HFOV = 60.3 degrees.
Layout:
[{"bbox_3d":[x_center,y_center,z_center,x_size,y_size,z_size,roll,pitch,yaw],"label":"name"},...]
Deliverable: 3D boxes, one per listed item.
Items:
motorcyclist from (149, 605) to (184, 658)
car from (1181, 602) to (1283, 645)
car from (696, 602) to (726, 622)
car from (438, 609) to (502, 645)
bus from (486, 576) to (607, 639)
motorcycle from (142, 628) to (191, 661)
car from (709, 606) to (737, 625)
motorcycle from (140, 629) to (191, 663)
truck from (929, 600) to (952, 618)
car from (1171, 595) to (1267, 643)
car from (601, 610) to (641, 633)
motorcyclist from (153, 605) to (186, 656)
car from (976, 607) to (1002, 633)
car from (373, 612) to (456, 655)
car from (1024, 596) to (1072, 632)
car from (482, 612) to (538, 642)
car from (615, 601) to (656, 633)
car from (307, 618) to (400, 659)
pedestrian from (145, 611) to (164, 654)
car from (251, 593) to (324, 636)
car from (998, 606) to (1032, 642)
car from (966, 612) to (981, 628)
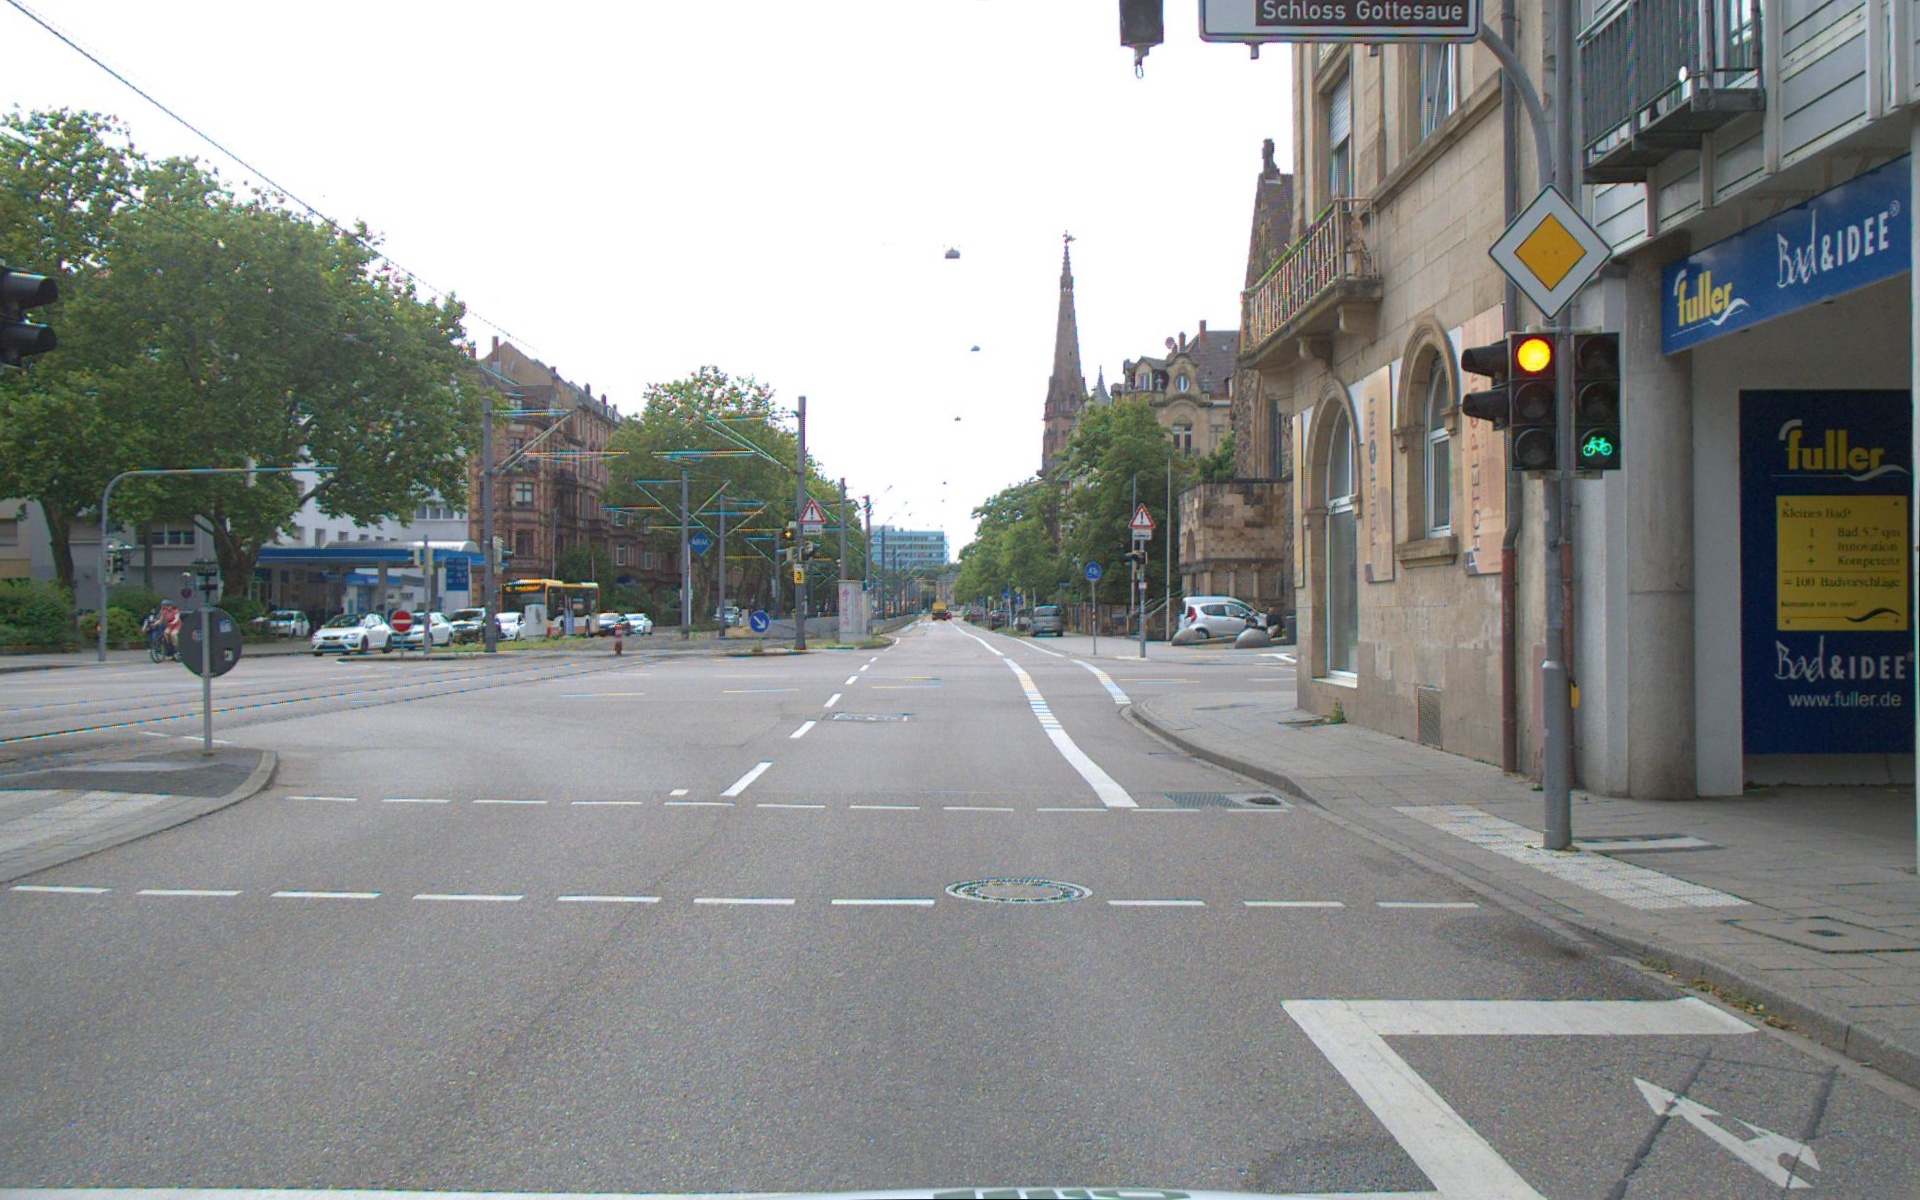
[{"bbox_3d":[-23.522,0.934,49.019,0.607,1.546,0.873,0,0,-1],"label":"motorcyclist"},{"bbox_3d":[10.673,0.927,65.065,3.638,1.591,2.000,1,0,-1],"label":"car"},{"bbox_3d":[-21.222,1.024,141.162,1.953,1.639,3.999,1,0,-1],"label":"car"},{"bbox_3d":[-21.224,1.139,71.762,1.622,1.504,3.638,1,0,1],"label":"car"},{"bbox_3d":[-21.967,0.418,88.734,3.164,3.088,12.312,1,0,1],"label":"bus"},{"bbox_3d":[-24.315,1.359,50.721,0.594,0.945,1.951,0,0,0],"label":"motorcycle"},{"bbox_3d":[-21.338,1.381,148.971,1.953,1.639,3.999,1,0,-1],"label":"car"},{"bbox_3d":[-23.544,1.362,49.038,0.594,0.945,1.951,0,0,0],"label":"motorcycle"},{"bbox_3d":[-3.067,1.444,262.300,2.991,2.817,9.819,0,0,3],"label":"truck"},{"bbox_3d":[10.690,0.796,68.536,3.638,1.888,2.000,1,0,-1],"label":"car"},{"bbox_3d":[-20.865,1.305,101.887,1.622,1.344,3.638,1,0,1],"label":"car"},{"bbox_3d":[-24.315,0.928,50.872,0.607,1.546,0.873,0,0,-1],"label":"motorcyclist"},{"bbox_3d":[2.374,1.628,136.183,1.953,2.049,3.999,1,0,-1],"label":"car"},{"bbox_3d":[-21.424,1.288,65.108,1.953,1.622,3.999,1,0,-1],"label":"car"},{"bbox_3d":[4.815,0.772,90.027,1.951,1.888,4.030,1,0,12],"label":"car"},{"bbox_3d":[-21.380,1.285,78.680,1.622,1.344,3.638,1,0,1],"label":"car"},{"bbox_3d":[-21.411,1.133,109.239,1.953,2.049,3.999,1,0,-1],"label":"car"},{"bbox_3d":[-21.437,1.332,58.592,1.711,1.344,4.075,1,0,1],"label":"car"},{"bbox_3d":[-28.400,1.147,58.293,0.466,1.485,0.426,0,0,-1],"label":"pedestrian"},{"bbox_3d":[-32.799,0.694,80.751,1.953,2.049,3.999,0,0,-1],"label":"car"},{"bbox_3d":[3.289,1.421,99.731,1.952,2.049,4.000,1,0,1],"label":"car"},{"bbox_3d":[1.769,2.661,216.803,1.953,2.049,3.999,1,0,-1],"label":"car"}]
